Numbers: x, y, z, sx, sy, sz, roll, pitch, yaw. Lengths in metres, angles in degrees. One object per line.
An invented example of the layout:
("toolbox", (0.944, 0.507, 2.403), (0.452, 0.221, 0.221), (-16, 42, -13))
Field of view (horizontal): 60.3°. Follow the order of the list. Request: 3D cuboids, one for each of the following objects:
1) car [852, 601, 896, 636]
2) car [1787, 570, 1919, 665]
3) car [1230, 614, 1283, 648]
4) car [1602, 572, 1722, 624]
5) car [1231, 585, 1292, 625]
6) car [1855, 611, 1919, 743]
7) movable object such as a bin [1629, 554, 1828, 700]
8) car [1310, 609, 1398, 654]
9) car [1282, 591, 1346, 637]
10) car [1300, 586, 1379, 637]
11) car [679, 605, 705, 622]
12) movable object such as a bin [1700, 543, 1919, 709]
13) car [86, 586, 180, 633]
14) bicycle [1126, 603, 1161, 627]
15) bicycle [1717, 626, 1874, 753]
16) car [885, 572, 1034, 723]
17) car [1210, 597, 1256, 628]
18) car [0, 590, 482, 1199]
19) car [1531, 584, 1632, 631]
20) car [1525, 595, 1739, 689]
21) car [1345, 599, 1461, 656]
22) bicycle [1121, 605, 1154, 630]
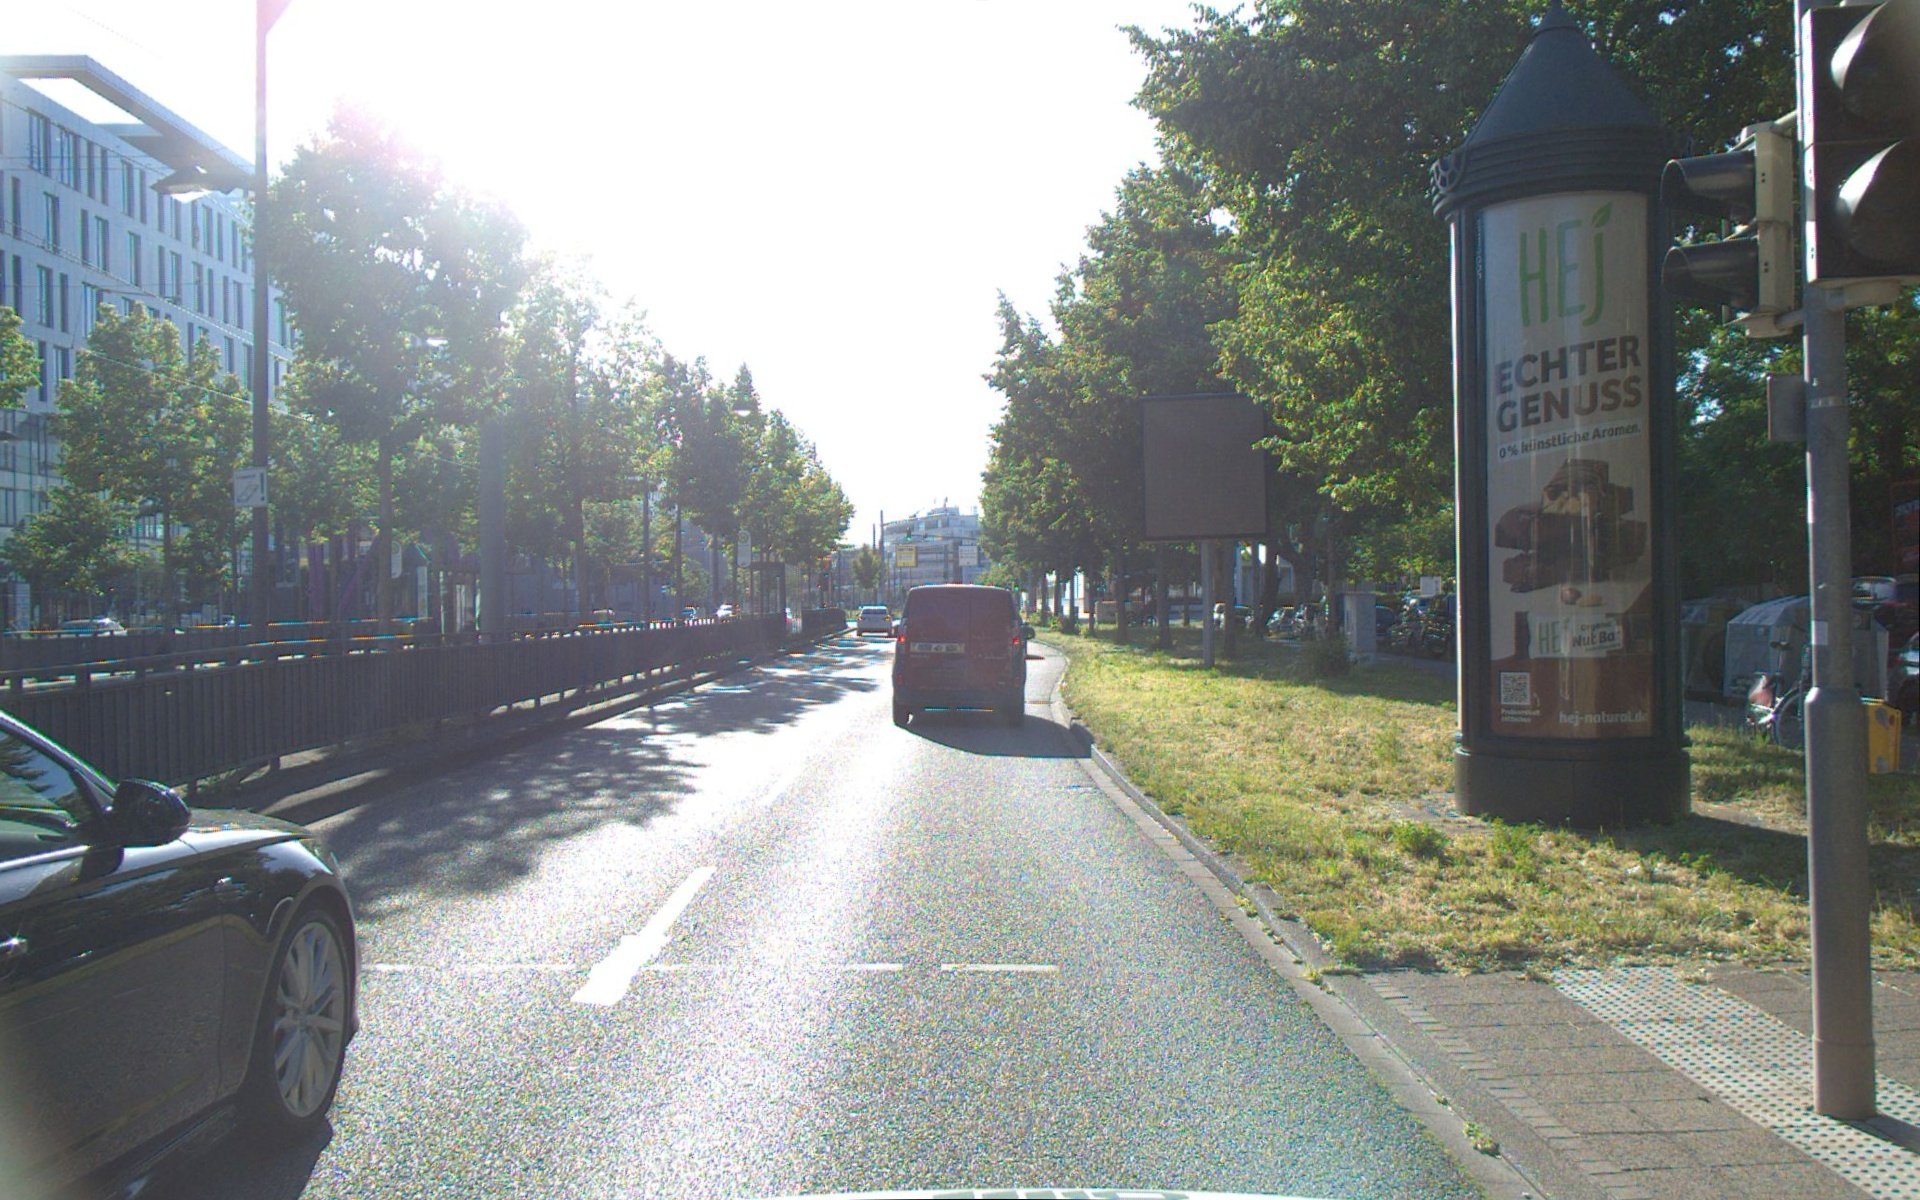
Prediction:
("car", (-4.183, 0.920, 80.694), (1.953, 1.646, 3.999), (1, -1, -1))
("car", (21.369, 0.394, 38.541), (1.833, 2.037, 4.690), (-2, -1, 0))
("car", (15.159, 1.579, 84.713), (1.833, 1.713, 3.998), (1, -1, -2))
("car", (22.410, -0.027, 52.983), (1.833, 1.509, 4.690), (-2, -1, 0))
("car", (13.586, 0.268, 74.712), (1.833, 1.713, 3.998), (-1, -1, -2))
("car", (11.217, 0.831, 16.842), (1.957, 1.409, 4.747), (1, -1, 5))
("movable object such as a bin", (11.418, 0.394, 24.716), (2.038, 2.049, 2.137), (1, -1, 3))
("car", (12.818, 1.009, 54.015), (1.833, 1.391, 3.999), (1, -1, -1))
("car", (13.900, 0.549, 65.091), (1.832, 1.713, 4.001), (1, -1, 3))
("car", (13.534, 0.419, 59.135), (1.833, 1.713, 3.999), (1, -1, -1))
("car", (-28.721, 1.488, 177.219), (1.952, 1.796, 4.001), (1, -1, 3))
("movable object such as a bin", (11.288, 0.343, 21.951), (2.038, 2.049, 2.137), (1, -1, 3))
("car", (-37.788, 0.444, 75.674), (1.953, 2.049, 4.563), (1, -1, 0))
("bicycle", (10.017, 0.823, 90.206), (1.878, 1.290, 0.479), (0, -1, 0))
("bicycle", (7.535, 0.777, 15.008), (0.482, 1.065, 1.904), (1, -1, 1))
("car", (-0.089, 0.625, 22.738), (1.773, 1.870, 3.997), (1, -1, -4))
("car", (15.411, 0.720, 93.601), (1.833, 1.713, 3.998), (1, -1, -2))
("car", (-2.582, 0.722, 2.887), (1.912, 1.506, 5.085), (1, 0, 1))
("car", (22.186, 0.291, 59.194), (1.833, 1.574, 4.690), (-2, -1, 0))
("car", (12.290, 0.751, 30.636), (1.833, 1.551, 5.054), (1, -1, -1))
("car", (12.264, 0.766, 46.100), (1.833, 1.459, 4.900), (1, -1, -1))
("bicycle", (9.751, 0.966, 91.010), (1.742, 1.290, 0.479), (1, -1, 0))
